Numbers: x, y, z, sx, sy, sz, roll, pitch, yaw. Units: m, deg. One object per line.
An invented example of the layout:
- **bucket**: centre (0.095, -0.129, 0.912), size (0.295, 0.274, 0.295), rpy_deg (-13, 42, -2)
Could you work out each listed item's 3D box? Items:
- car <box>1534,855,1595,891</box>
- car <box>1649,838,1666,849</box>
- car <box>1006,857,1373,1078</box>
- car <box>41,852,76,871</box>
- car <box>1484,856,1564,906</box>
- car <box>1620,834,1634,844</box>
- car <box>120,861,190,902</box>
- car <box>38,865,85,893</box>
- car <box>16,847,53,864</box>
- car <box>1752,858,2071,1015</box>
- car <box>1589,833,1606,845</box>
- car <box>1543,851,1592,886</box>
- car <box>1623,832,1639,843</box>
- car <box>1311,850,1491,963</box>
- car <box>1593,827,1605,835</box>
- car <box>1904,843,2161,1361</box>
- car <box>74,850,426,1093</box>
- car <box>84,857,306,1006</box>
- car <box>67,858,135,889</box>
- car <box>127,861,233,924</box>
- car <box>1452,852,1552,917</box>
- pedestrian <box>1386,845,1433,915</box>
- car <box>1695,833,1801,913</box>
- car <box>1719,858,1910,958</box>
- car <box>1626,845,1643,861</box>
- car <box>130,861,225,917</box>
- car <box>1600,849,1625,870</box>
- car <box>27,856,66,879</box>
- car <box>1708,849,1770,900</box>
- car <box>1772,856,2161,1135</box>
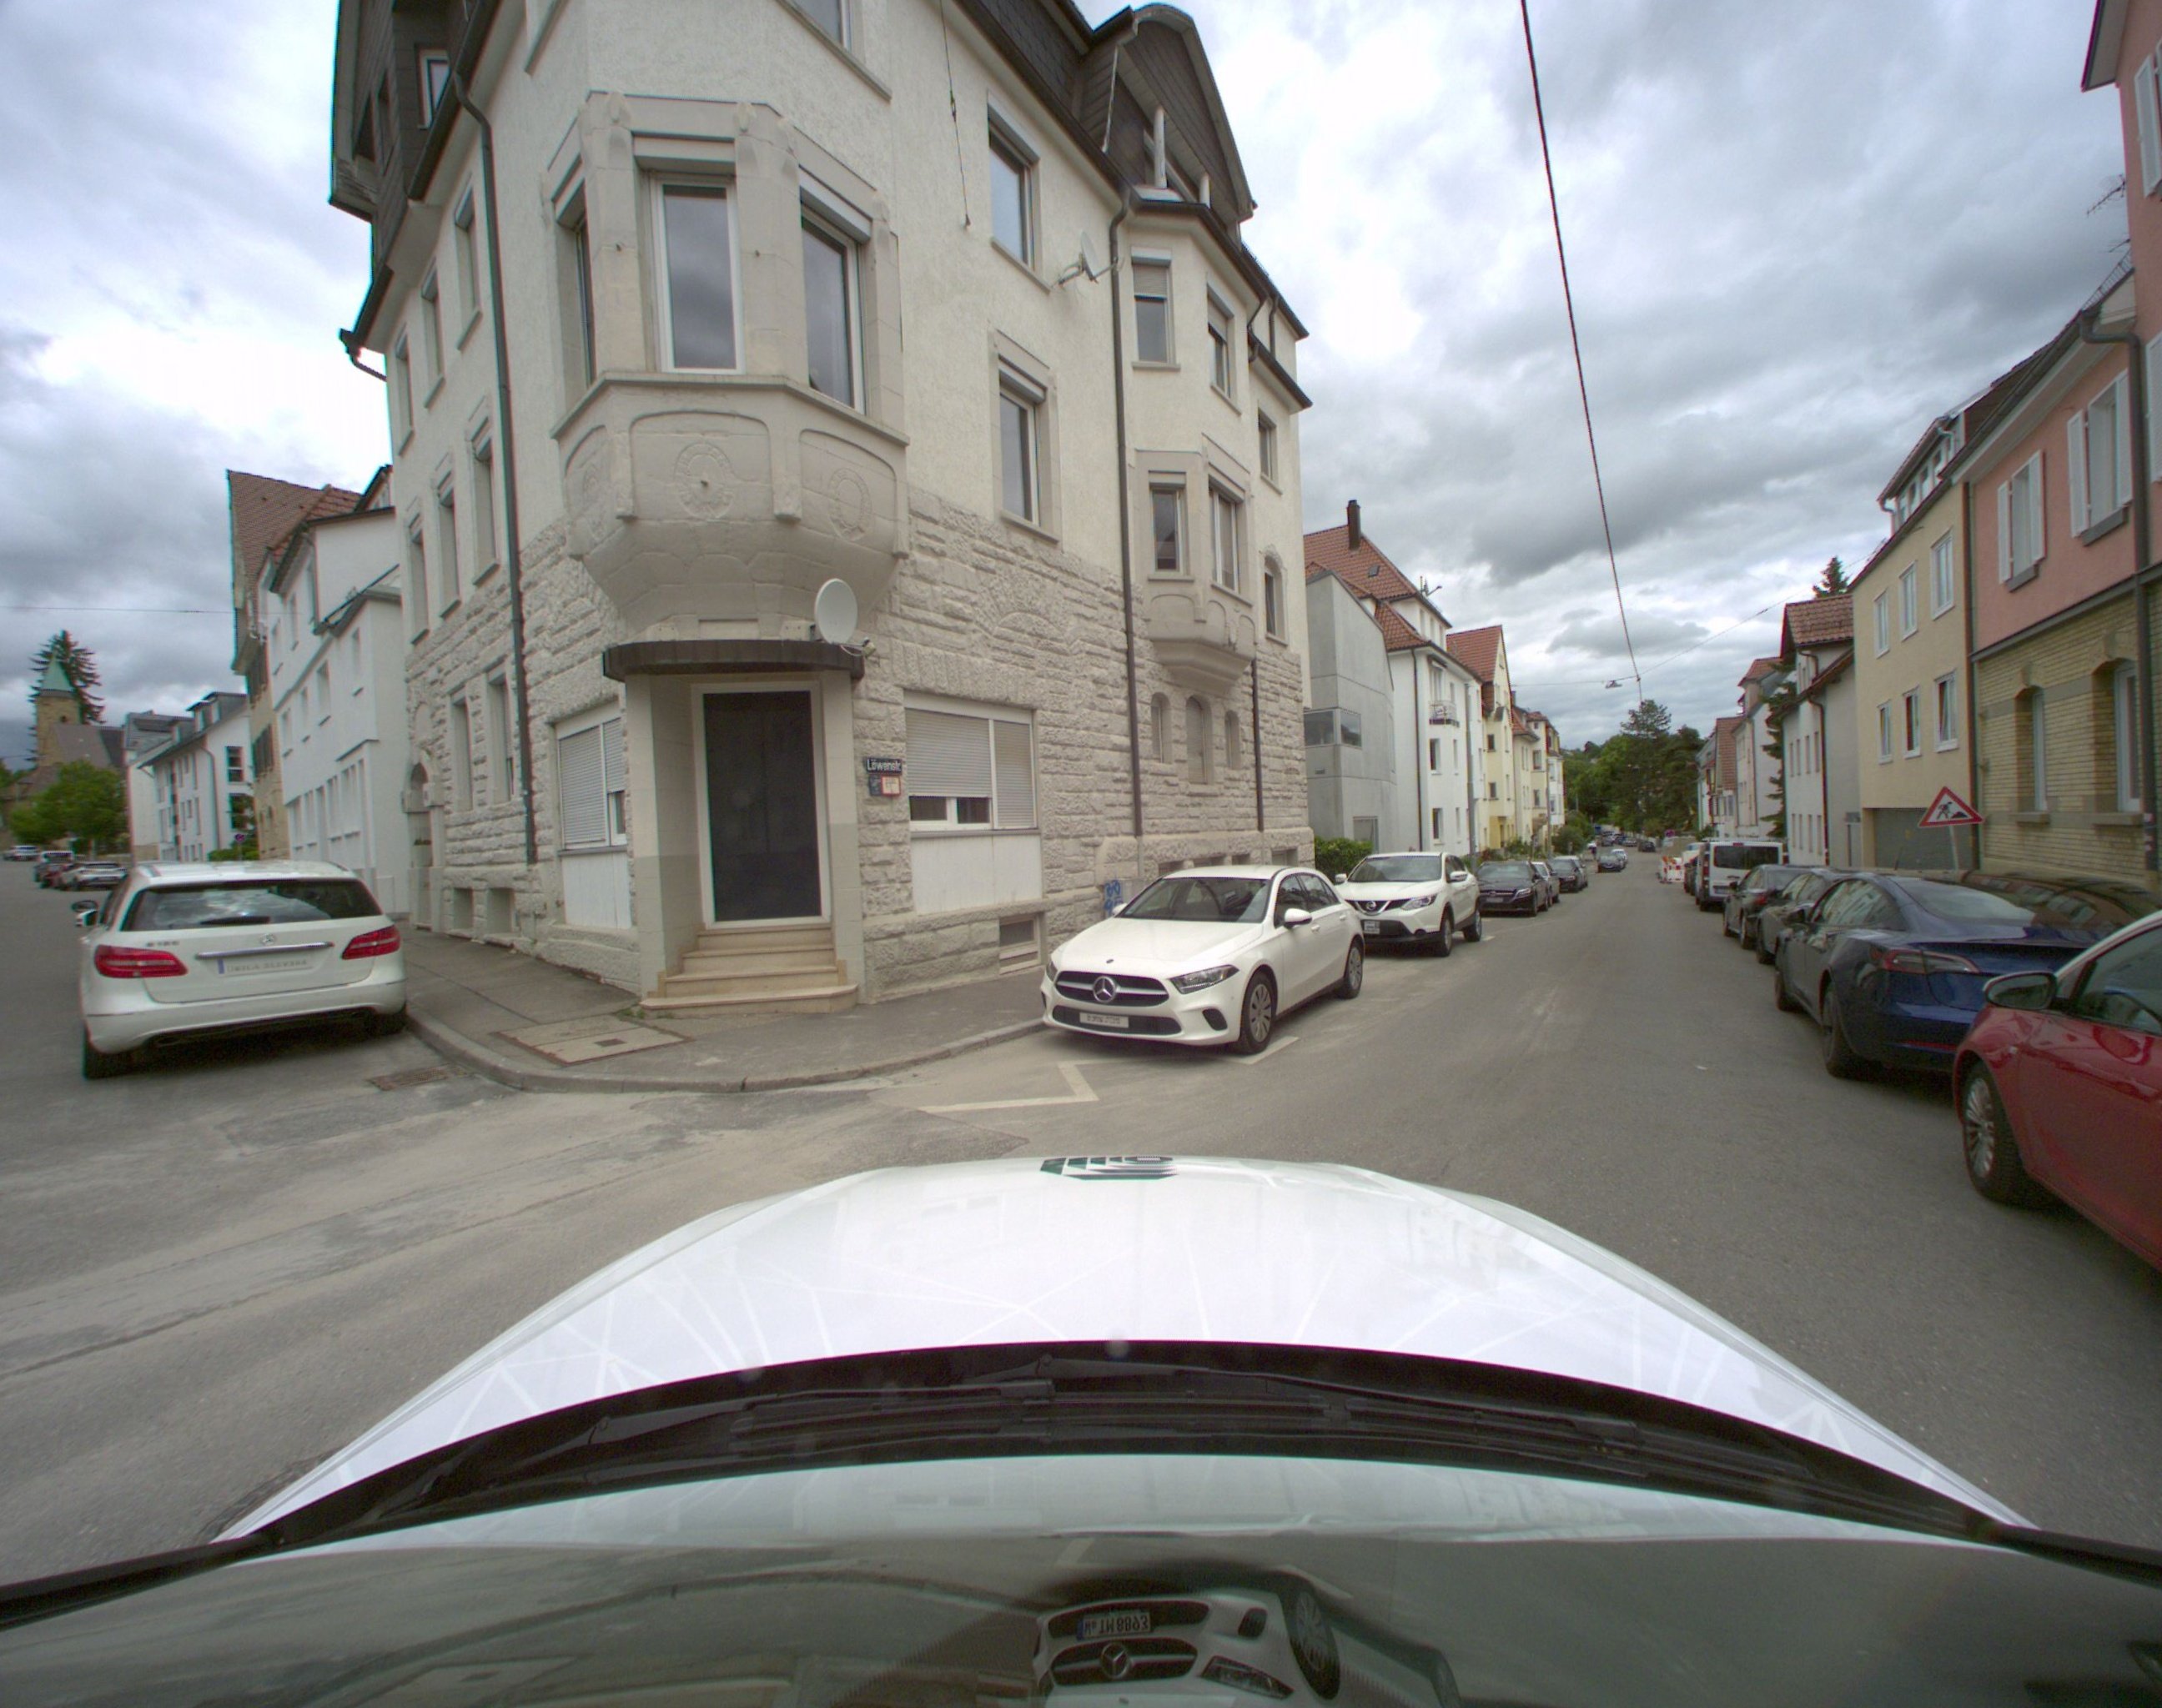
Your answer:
- **car**: centre (20.960, 0.801, 35.231), size (1.827, 1.457, 4.533), rpy_deg (-3, -2, 36)
- **car**: centre (84.678, -1.574, 119.587), size (1.619, 1.483, 3.553), rpy_deg (0, 4, 28)
- **car**: centre (1.315, 0.781, 7.665), size (1.682, 1.414, 4.268), rpy_deg (-2, 0, 34)
- **car**: centre (-83.547, 0.586, 66.552), size (3.579, 1.479, 1.684), rpy_deg (0, 2, 39)
- **car**: centre (14.642, 0.835, 26.764), size (1.827, 1.413, 5.094), rpy_deg (-2, 0, 34)
- **car**: centre (90.850, -2.571, 135.517), size (1.619, 1.483, 3.552), rpy_deg (0, 4, 27)
- **car**: centre (-37.144, 1.045, 32.643), size (3.579, 1.479, 1.684), rpy_deg (0, 1, 39)
- **car**: centre (-61.072, 1.483, 48.807), size (3.579, 1.479, 1.684), rpy_deg (0, 2, 39)
- **car**: centre (-114.983, 0.153, 89.488), size (3.579, 1.693, 2.203), rpy_deg (0, 2, 34)
- **car**: centre (9.589, 0.787, 9.819), size (1.834, 1.403, 3.992), rpy_deg (0, 1, 33)
- **car**: centre (83.463, -2.419, 131.526), size (1.657, 1.656, 3.885), rpy_deg (-3, 2, 23)
- **car**: centre (24.137, 0.698, 40.363), size (1.827, 1.631, 4.314), rpy_deg (-2, 0, 34)
- **car**: centre (88.617, -2.636, 131.256), size (1.619, 1.483, 3.552), rpy_deg (0, 4, 27)
- **car**: centre (5.367, 0.719, 13.304), size (1.827, 1.515, 4.268), rpy_deg (-2, 0, 34)
- **car**: centre (101.779, -4.543, 160.113), size (1.619, 1.537, 3.552), rpy_deg (0, 4, 27)
- **car**: centre (4.056, 0.707, 2.301), size (1.651, 1.479, 3.649), rpy_deg (-2, 0, 33)
- **car**: centre (-7.651, 0.790, 7.384), size (3.975, 1.599, 1.838), rpy_deg (0, 0, 39)
- **car**: centre (-11.633, 0.836, 10.621), size (3.975, 1.532, 1.684), rpy_deg (0, 1, 39)
- **car**: centre (-52.102, 1.021, 43.289), size (3.579, 1.479, 1.801), rpy_deg (0, 2, 32)
- **car**: centre (-23.954, 0.957, 21.626), size (3.579, 1.479, 1.684), rpy_deg (0, 1, 39)
- **car**: centre (11.443, 0.761, 21.964), size (1.877, 1.527, 4.499), rpy_deg (-2, 0, 34)
- **pedestrian**: centre (9.084, 0.701, 22.542), size (0.850, 1.884, 0.811), rpy_deg (-1, -1, -32)
- **car**: centre (19.114, 0.450, 23.576), size (1.887, 2.030, 5.769), rpy_deg (0, 1, 34)
- **car**: centre (12.334, 0.798, 14.000), size (1.834, 1.403, 4.604), rpy_deg (0, -1, 34)
- **car**: centre (67.249, -0.183, 98.964), size (1.656, 1.656, 3.889), rpy_deg (-3, 2, 35)
- **car**: centre (-27.024, 0.995, 24.337), size (3.579, 1.479, 1.684), rpy_deg (0, 1, 39)
- **car**: centre (49.681, 0.479, 76.171), size (1.827, 1.815, 4.573), rpy_deg (-2, -1, 33)
- **car**: centre (-75.080, 0.964, 59.120), size (3.579, 1.479, 1.684), rpy_deg (0, 2, 39)
- **car**: centre (21.999, 0.640, 27.300), size (1.472, 1.596, 2.808), rpy_deg (0, 1, 36)
- **car**: centre (6.684, 0.749, 6.187), size (1.834, 1.403, 4.319), rpy_deg (0, 1, 36)
